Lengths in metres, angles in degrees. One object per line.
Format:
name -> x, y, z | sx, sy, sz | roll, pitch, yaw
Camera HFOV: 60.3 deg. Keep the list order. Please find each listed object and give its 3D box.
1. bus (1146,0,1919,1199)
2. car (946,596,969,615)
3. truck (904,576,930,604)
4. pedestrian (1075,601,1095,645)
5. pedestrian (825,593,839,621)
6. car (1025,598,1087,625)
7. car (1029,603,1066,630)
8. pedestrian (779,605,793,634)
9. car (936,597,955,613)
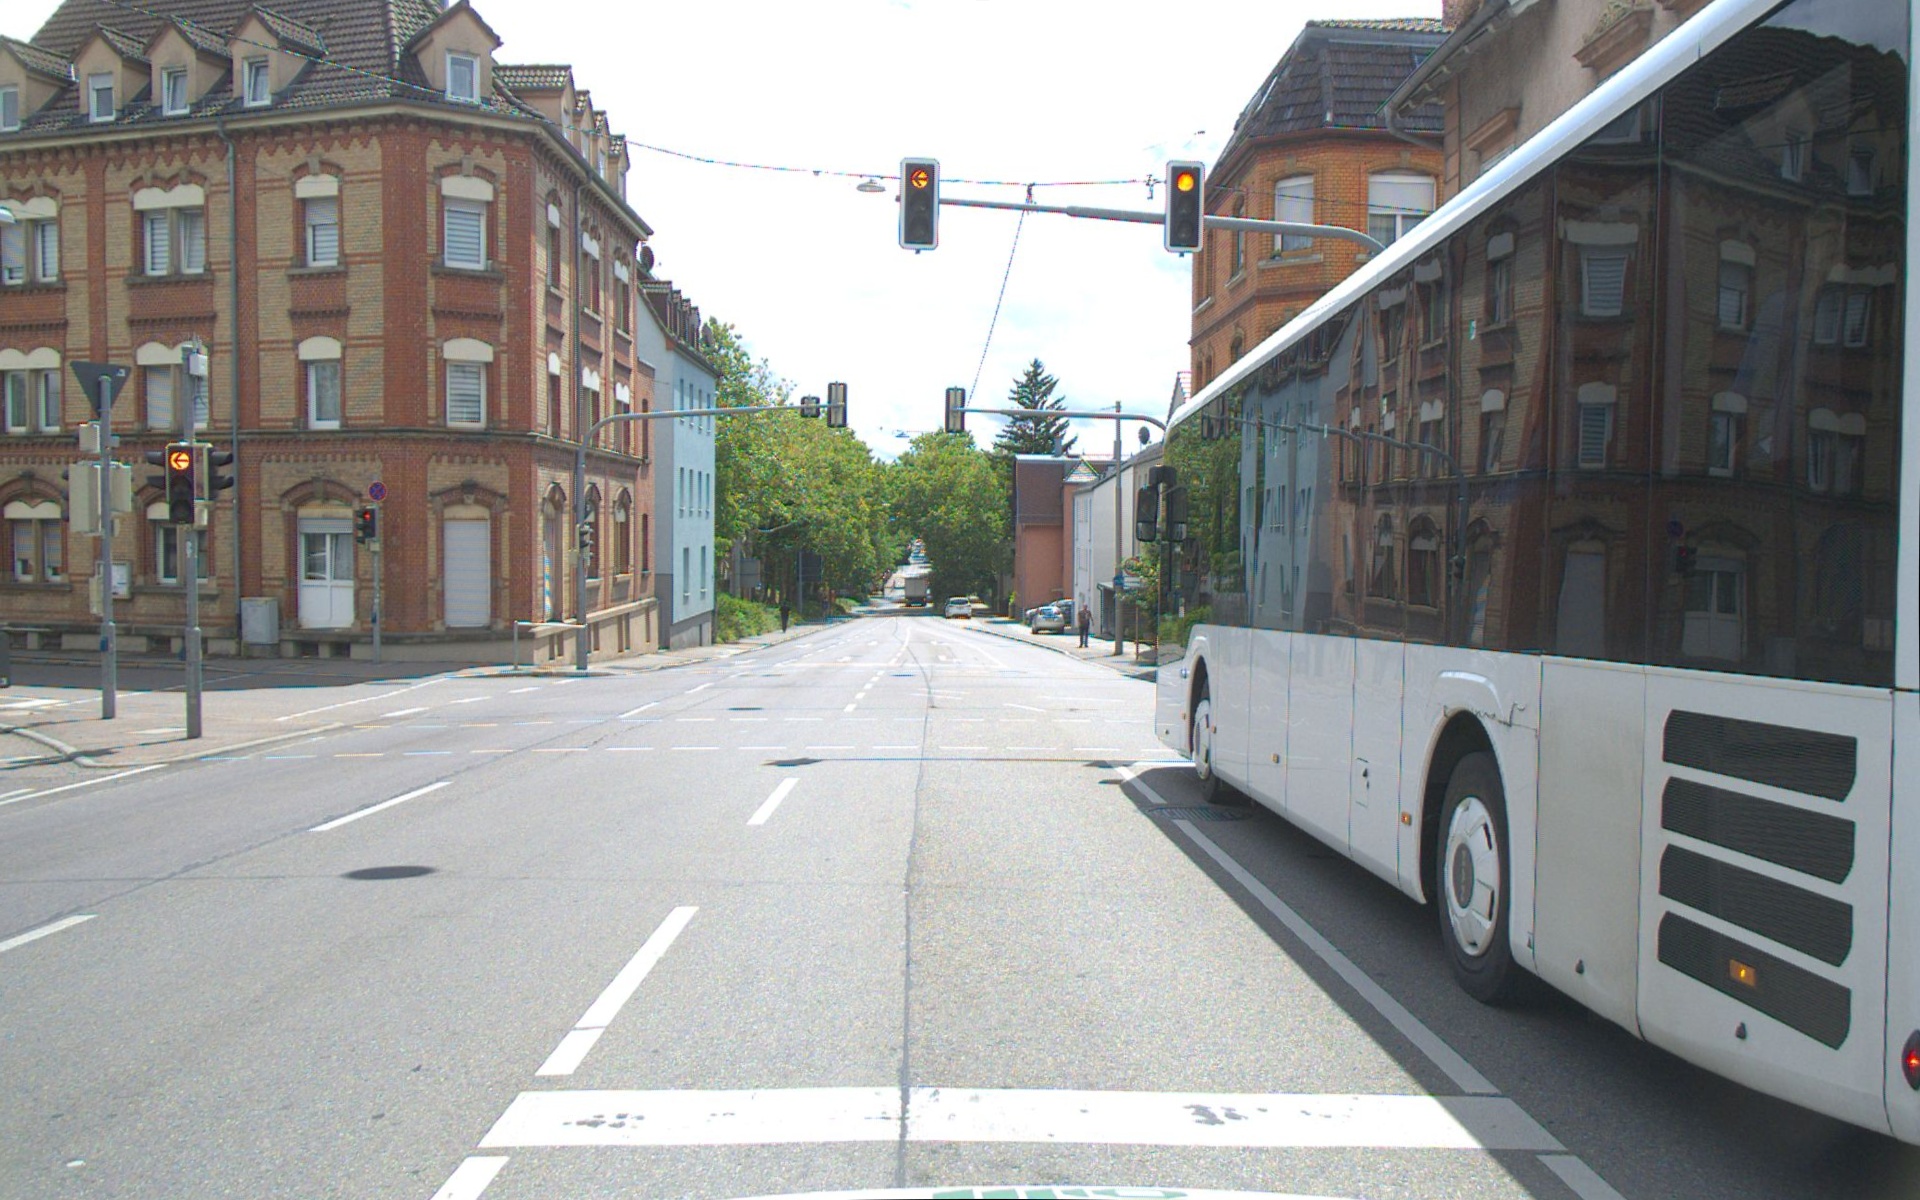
bus -> 3.134, -0.138, 9.274 | 2.618, 3.211, 12.459 | 0, 0, -1
car -> -0.198, 0.429, 129.391 | 1.758, 1.434, 3.999 | 1, 0, -1
truck -> -5.035, -1.187, 192.726 | 2.868, 3.135, 7.881 | -1, 0, -3
pedestrian -> 5.023, 0.919, 66.694 | 0.723, 1.781, 0.619 | -1, 0, -1
pedestrian -> -9.286, 0.489, 119.990 | 0.974, 2.049, 1.188 | 0, 0, -1
car -> 6.528, 0.773, 112.763 | 3.909, 1.788, 1.998 | -1, 0, -6
car -> 4.913, 0.928, 93.128 | 1.758, 1.434, 3.999 | -1, 1, -2
pedestrian -> -9.422, 1.049, 89.783 | 0.714, 1.592, 0.560 | 0, 0, -2
car -> -1.339, 0.484, 154.078 | 1.757, 1.434, 4.418 | 1, 0, 0
